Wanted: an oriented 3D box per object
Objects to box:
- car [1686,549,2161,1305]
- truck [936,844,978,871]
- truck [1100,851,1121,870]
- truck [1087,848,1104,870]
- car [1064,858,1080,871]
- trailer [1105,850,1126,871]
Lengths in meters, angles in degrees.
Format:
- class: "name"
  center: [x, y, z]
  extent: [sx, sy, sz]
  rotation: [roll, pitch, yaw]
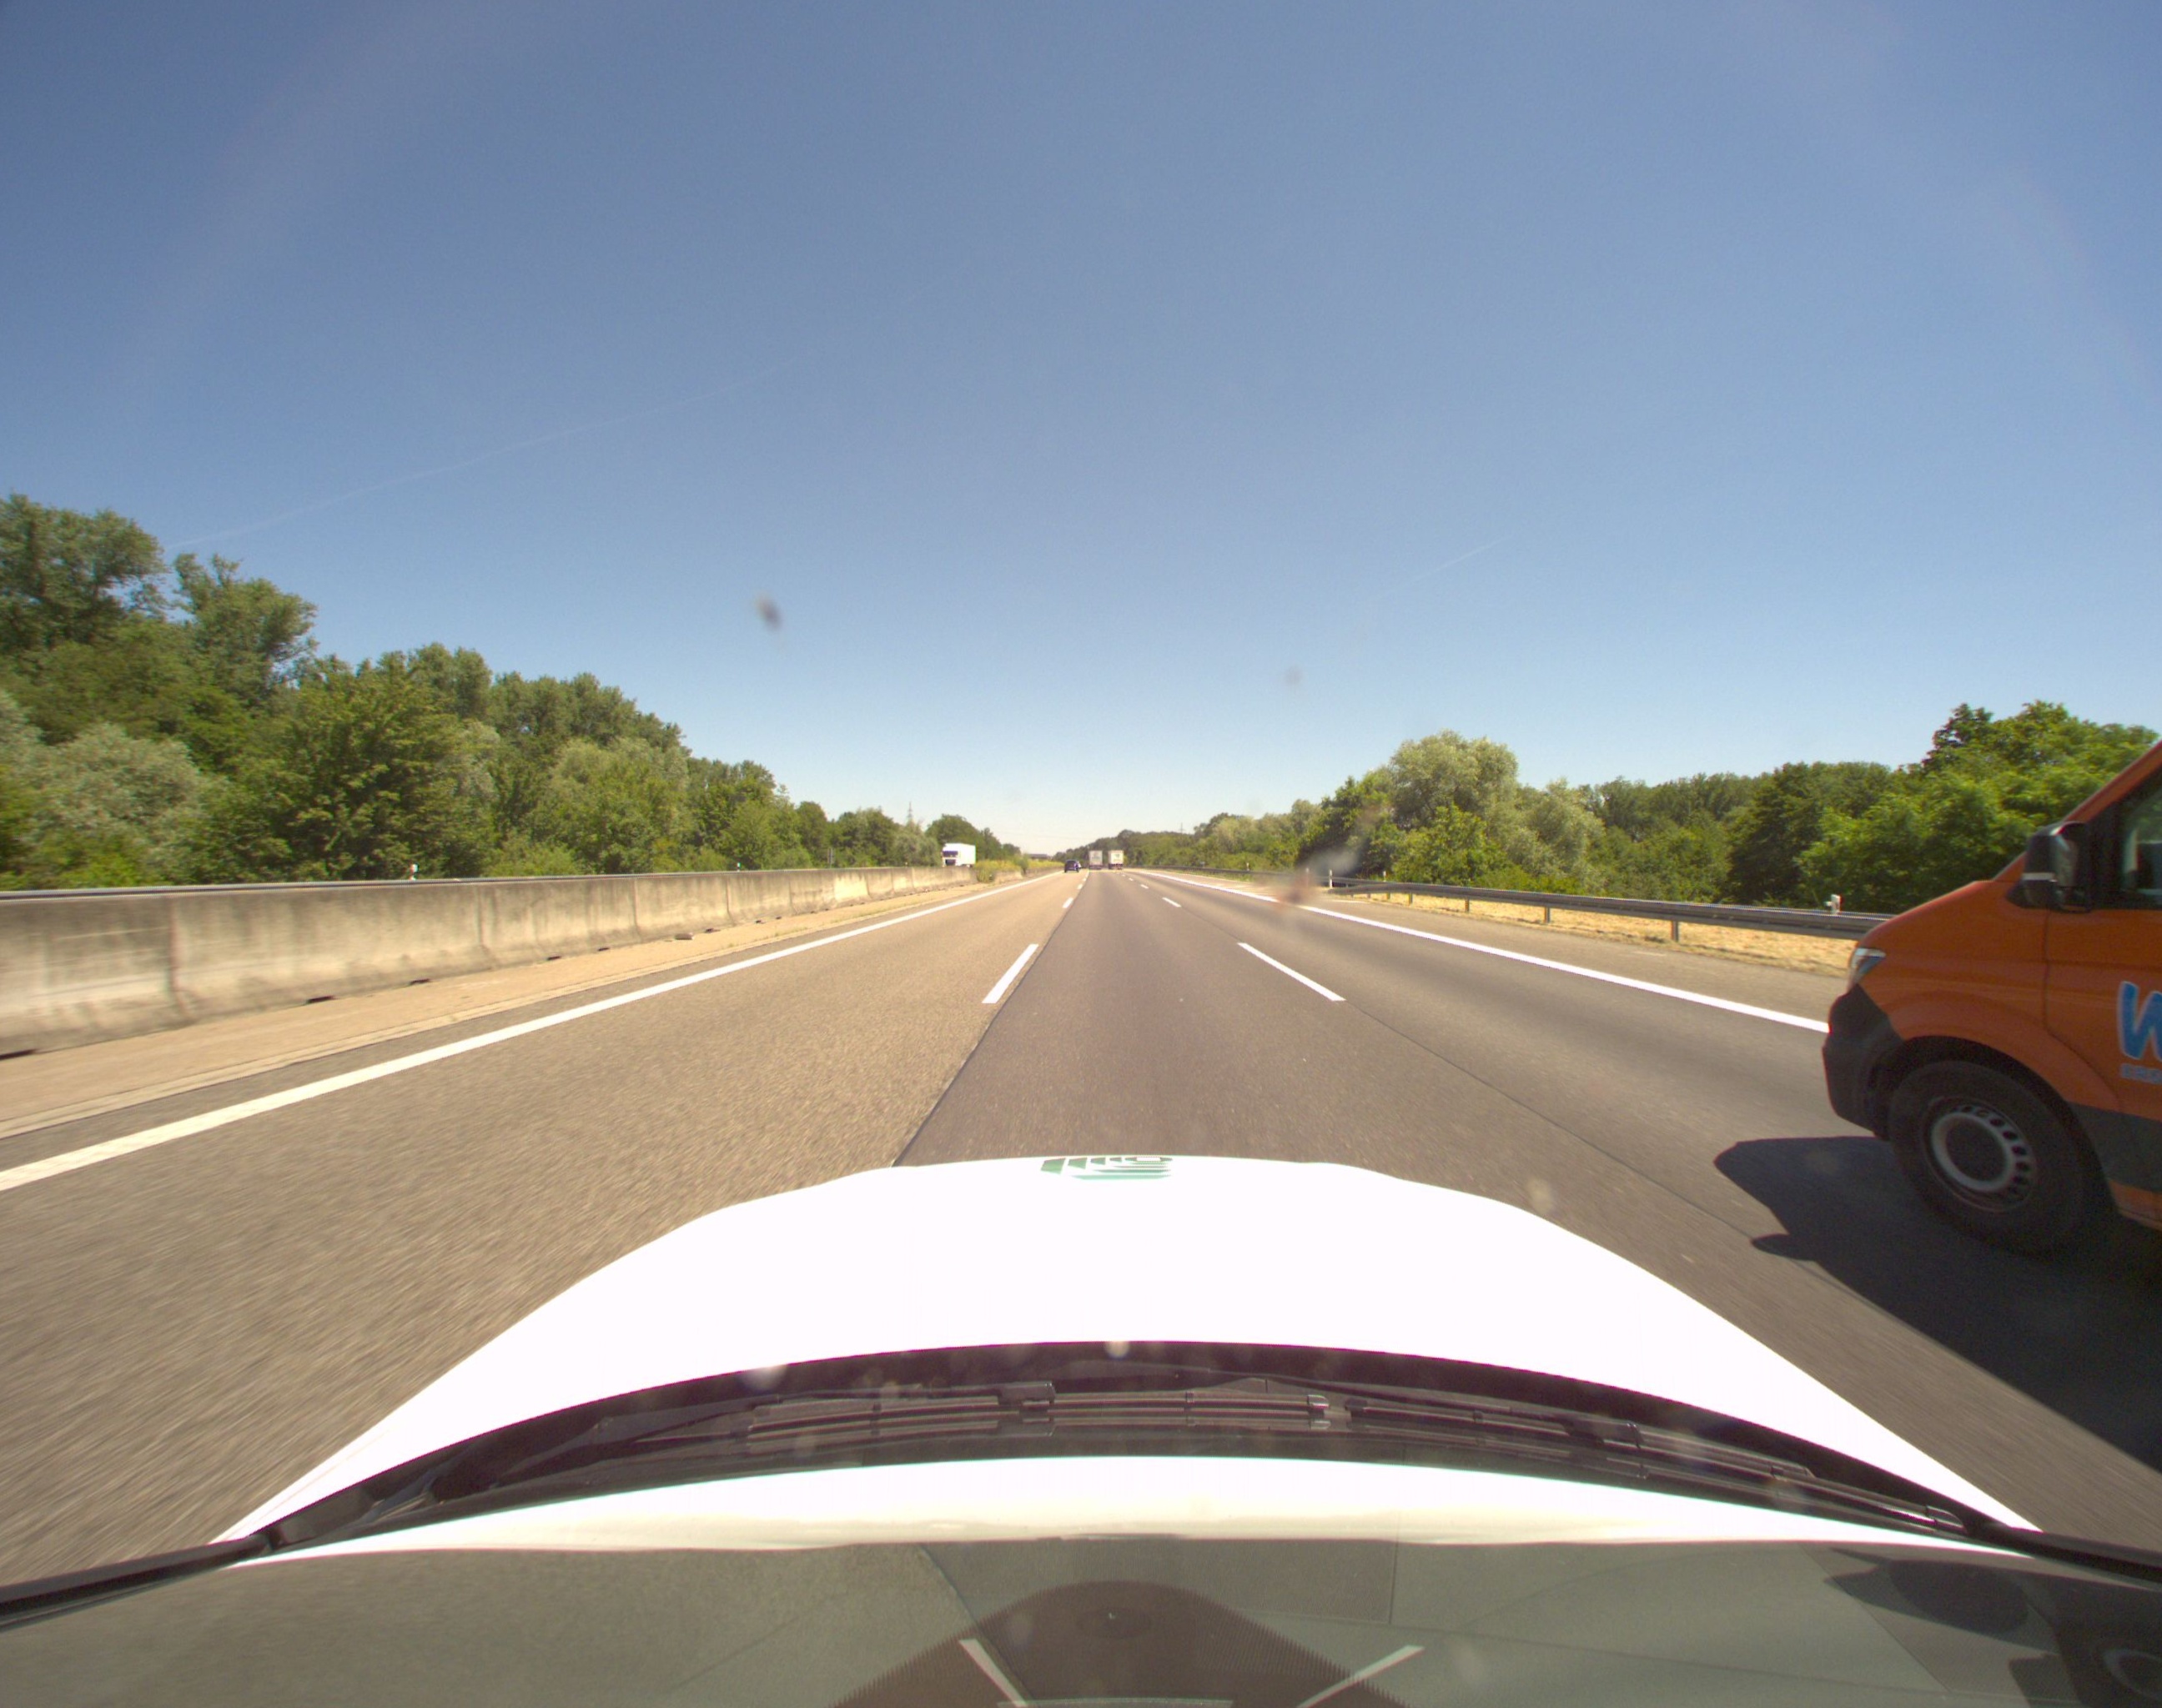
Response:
- class: "car"
  center: [4.385, 0.224, 1.076]
  extent: [1.986, 2.405, 7.228]
  rotation: [0, 0, 2]
- class: "truck"
  center: [-18.572, 0.606, 123.070]
  extent: [3.586, 3.735, 17.482]
  rotation: [0, -1, 0]
- class: "truck"
  center: [6.371, 1.422, 176.356]
  extent: [3.320, 4.053, 10.933]
  rotation: [0, 0, -5]
- class: "truck"
  center: [2.853, 1.064, 163.884]
  extent: [3.218, 4.202, 8.465]
  rotation: [2, 0, 0]
- class: "car"
  center: [-1.254, 1.432, 112.697]
  extent: [1.986, 1.874, 4.001]
  rotation: [0, 0, 1]
- class: "trailer"
  center: [7.080, 1.333, 168.870]
  extent: [3.361, 4.143, 9.078]
  rotation: [0, 0, -4]
